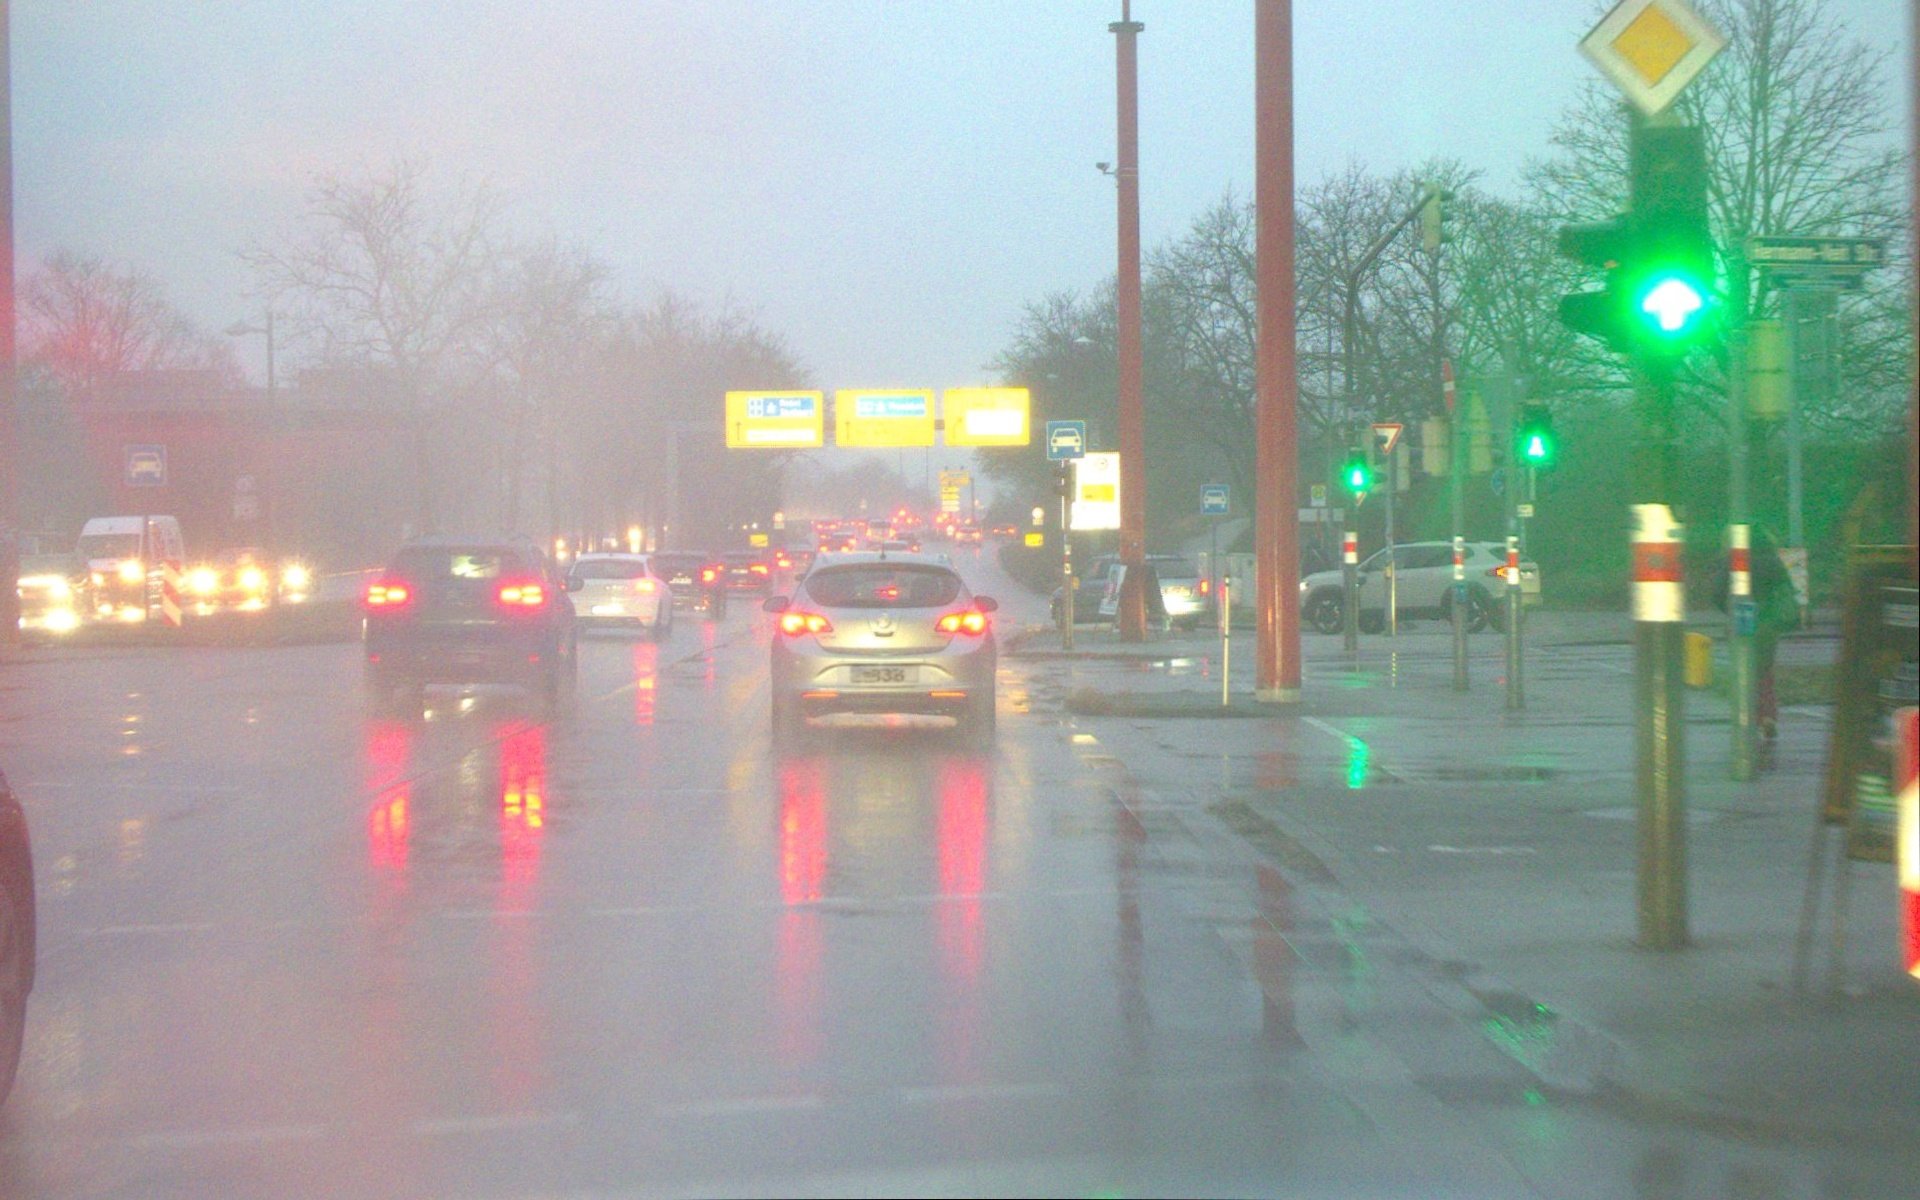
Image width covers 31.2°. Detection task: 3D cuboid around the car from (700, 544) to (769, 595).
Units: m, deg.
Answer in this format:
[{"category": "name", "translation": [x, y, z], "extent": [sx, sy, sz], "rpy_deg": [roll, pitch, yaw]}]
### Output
[{"category": "car", "translation": [-6.809, -0.931, 104.047], "extent": [1.822, 1.499, 4.000], "rpy_deg": [0, 1, 0]}]

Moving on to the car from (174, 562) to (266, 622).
[{"category": "car", "translation": [-20.611, -0.235, 95.912], "extent": [1.770, 1.581, 4.033], "rpy_deg": [0, 1, -2]}]

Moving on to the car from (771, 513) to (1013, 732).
[{"category": "car", "translation": [-0.529, 0.168, 28.562], "extent": [1.822, 1.642, 4.466], "rpy_deg": [1, 0, 0]}]

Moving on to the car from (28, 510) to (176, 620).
[{"category": "car", "translation": [-24.453, -0.963, 98.249], "extent": [2.292, 2.994, 7.346], "rpy_deg": [1, 0, 0]}]

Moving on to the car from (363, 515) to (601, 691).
[{"category": "car", "translation": [-4.701, 0.005, 34.309], "extent": [1.822, 1.642, 4.000], "rpy_deg": [0, 1, 0]}]

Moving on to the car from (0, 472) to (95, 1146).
[{"category": "car", "translation": [-3.248, 0.528, 7.079], "extent": [1.822, 1.642, 4.466], "rpy_deg": [0, 1, 0]}]

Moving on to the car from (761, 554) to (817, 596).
[{"category": "car", "translation": [-6.587, -0.945, 132.843], "extent": [1.993, 1.571, 4.000], "rpy_deg": [1, 0, 0]}]

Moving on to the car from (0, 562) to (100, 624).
[{"category": "car", "translation": [-23.688, -0.202, 88.903], "extent": [1.770, 1.531, 4.446], "rpy_deg": [0, 1, 0]}]

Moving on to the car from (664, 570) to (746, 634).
[{"category": "car", "translation": [-5.517, 0.031, 74.725], "extent": [1.505, 1.334, 4.000], "rpy_deg": [0, 1, 0]}]

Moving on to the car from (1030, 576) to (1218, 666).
[{"category": "car", "translation": [3.136, 0.392, 66.631], "extent": [1.933, 1.642, 4.467], "rpy_deg": [1, 0, -22]}]

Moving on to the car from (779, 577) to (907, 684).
[{"category": "car", "translation": [-1.888, 0.479, 56.560], "extent": [1.993, 1.656, 4.000], "rpy_deg": [1, 0, -1]}]

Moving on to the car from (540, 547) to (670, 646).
[{"category": "car", "translation": [-6.054, -0.079, 58.938], "extent": [1.822, 1.642, 4.000], "rpy_deg": [0, 1, 0]}]

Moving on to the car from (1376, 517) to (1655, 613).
[{"category": "car", "translation": [9.610, -0.601, 59.553], "extent": [4.404, 1.612, 1.818], "rpy_deg": [0, 1, 31]}]
